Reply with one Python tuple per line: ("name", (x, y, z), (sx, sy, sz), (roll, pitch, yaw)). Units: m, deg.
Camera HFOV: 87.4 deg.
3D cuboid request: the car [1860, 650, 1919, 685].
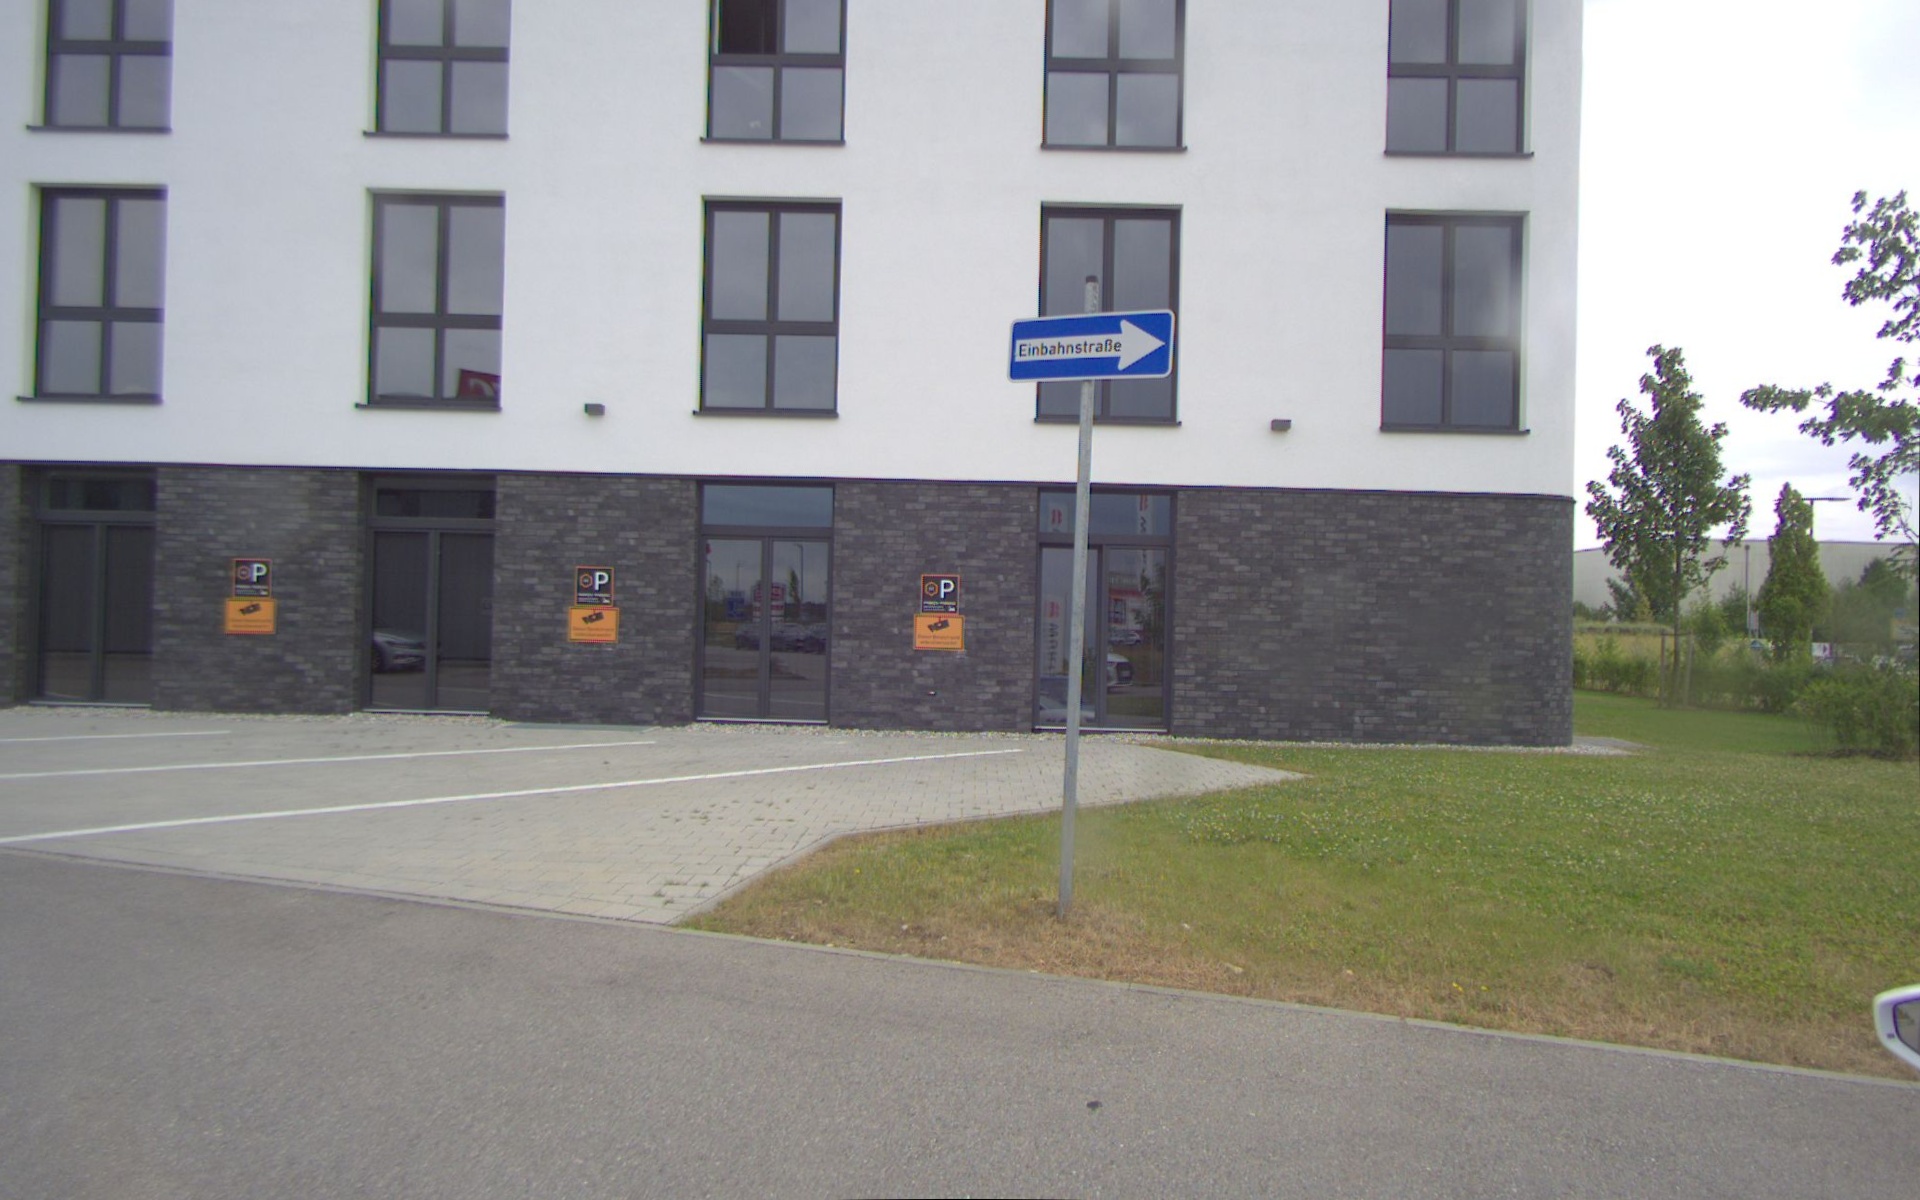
("car", (41.397, 2.962, 44.273), (1.687, 1.360, 3.957), (1, -1, 29))
